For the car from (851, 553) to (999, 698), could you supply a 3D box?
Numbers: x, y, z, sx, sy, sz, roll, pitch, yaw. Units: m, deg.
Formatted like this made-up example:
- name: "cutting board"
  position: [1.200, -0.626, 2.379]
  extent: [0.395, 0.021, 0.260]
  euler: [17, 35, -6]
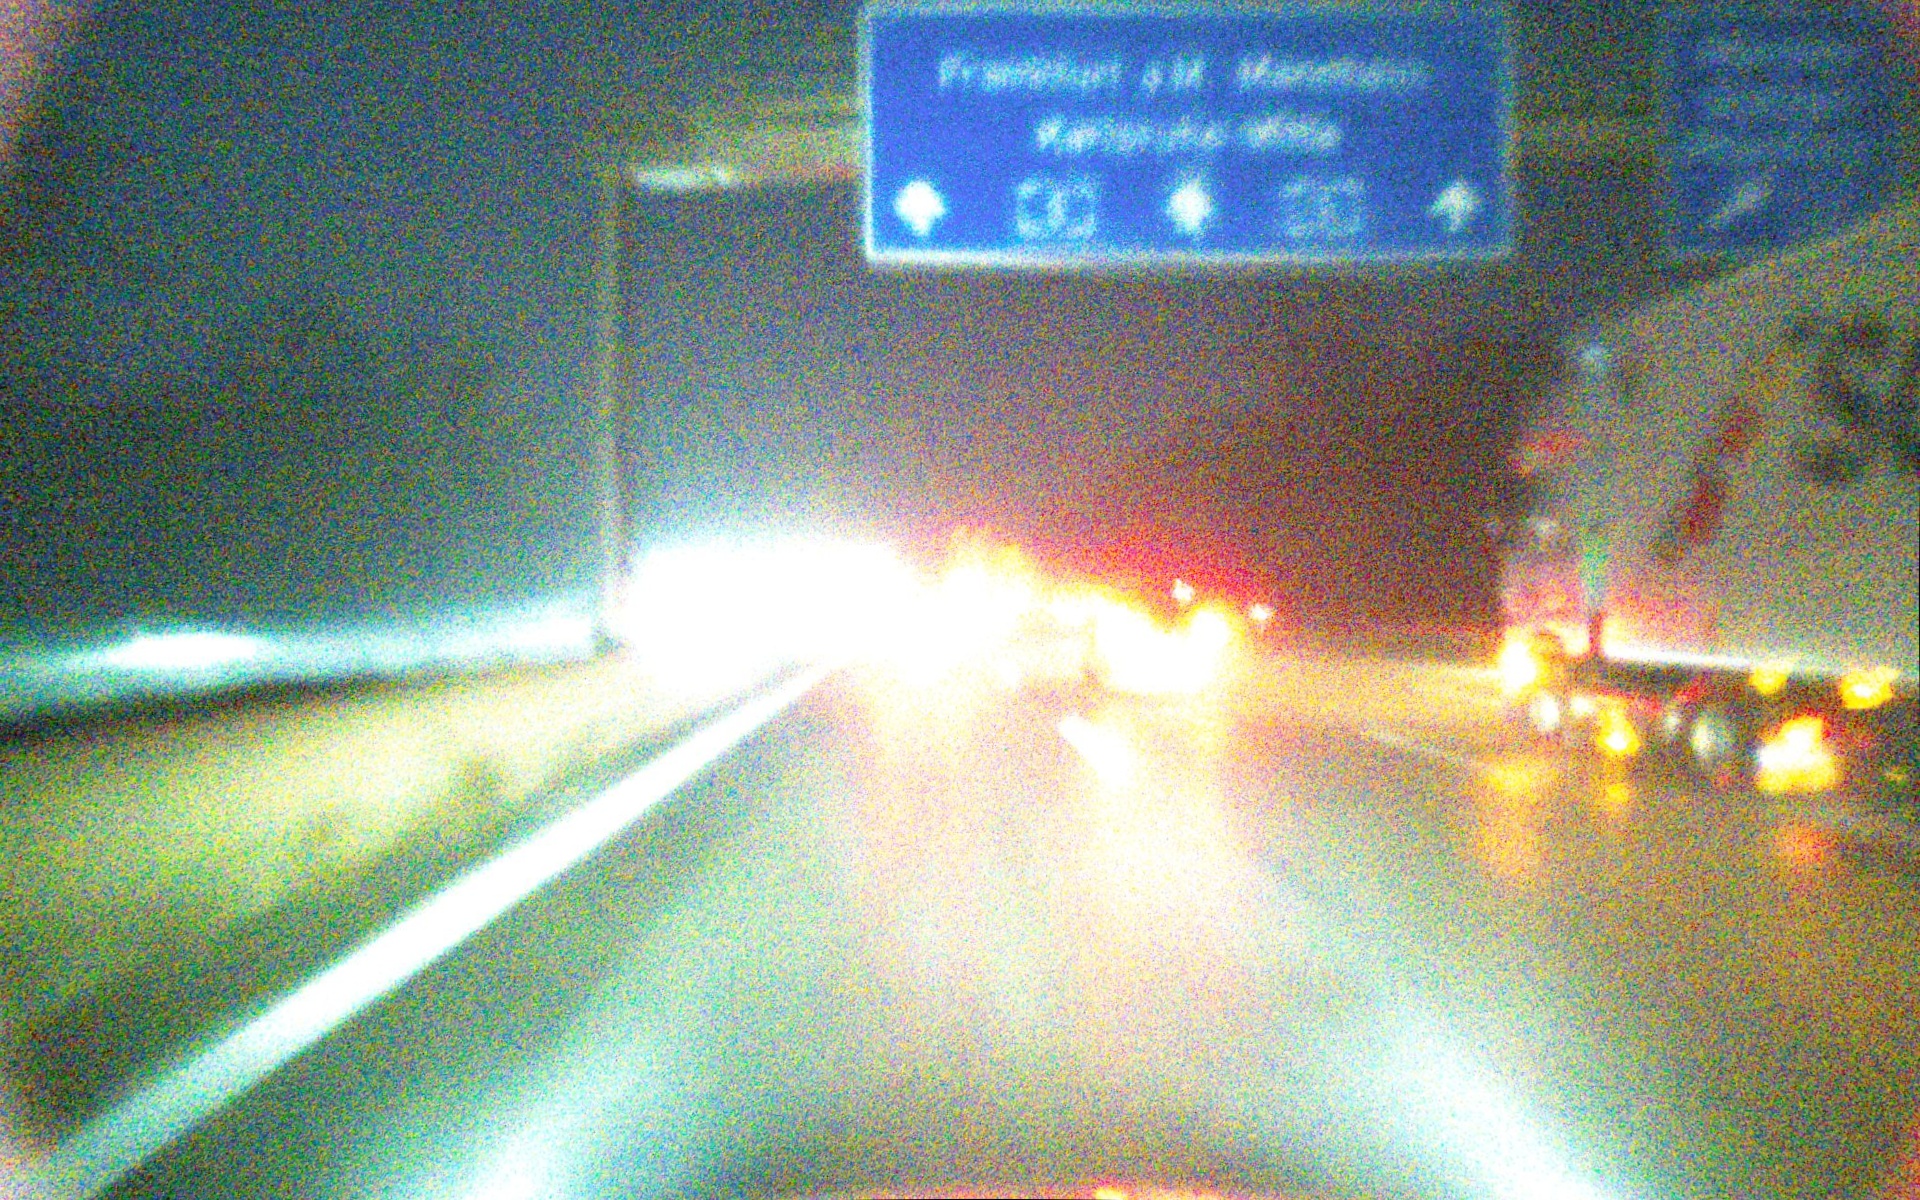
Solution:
- name: "car"
  position: [-0.761, 0.436, 33.428]
  extent: [2.655, 2.578, 5.828]
  euler: [-2, 1, -2]

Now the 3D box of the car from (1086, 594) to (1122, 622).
- name: "car"
  position: [8.767, 0.507, 100.861]
  extent: [1.818, 1.646, 4.000]
  euler: [1, 0, 0]

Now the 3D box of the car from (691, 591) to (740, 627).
- name: "car"
  position: [-11.164, 0.409, 75.733]
  extent: [1.675, 1.591, 4.294]
  euler: [-1, 0, -1]

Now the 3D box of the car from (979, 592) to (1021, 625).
- name: "car"
  position: [2.087, 0.444, 87.103]
  extent: [2.093, 1.646, 4.000]
  euler: [1, 0, 0]

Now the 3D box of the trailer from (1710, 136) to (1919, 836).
- name: "trailer"
  position: [7.303, -0.679, 6.772]
  extent: [2.747, 4.286, 12.094]
  euler: [1, 0, -1]

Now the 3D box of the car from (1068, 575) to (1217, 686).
- name: "car"
  position: [2.814, 0.440, 26.286]
  extent: [1.846, 1.616, 3.999]
  euler: [1, 0, -1]

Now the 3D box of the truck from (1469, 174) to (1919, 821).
- name: "truck"
  position: [7.173, -0.686, 14.858]
  extent: [2.747, 4.341, 7.446]
  euler: [1, 0, -1]
